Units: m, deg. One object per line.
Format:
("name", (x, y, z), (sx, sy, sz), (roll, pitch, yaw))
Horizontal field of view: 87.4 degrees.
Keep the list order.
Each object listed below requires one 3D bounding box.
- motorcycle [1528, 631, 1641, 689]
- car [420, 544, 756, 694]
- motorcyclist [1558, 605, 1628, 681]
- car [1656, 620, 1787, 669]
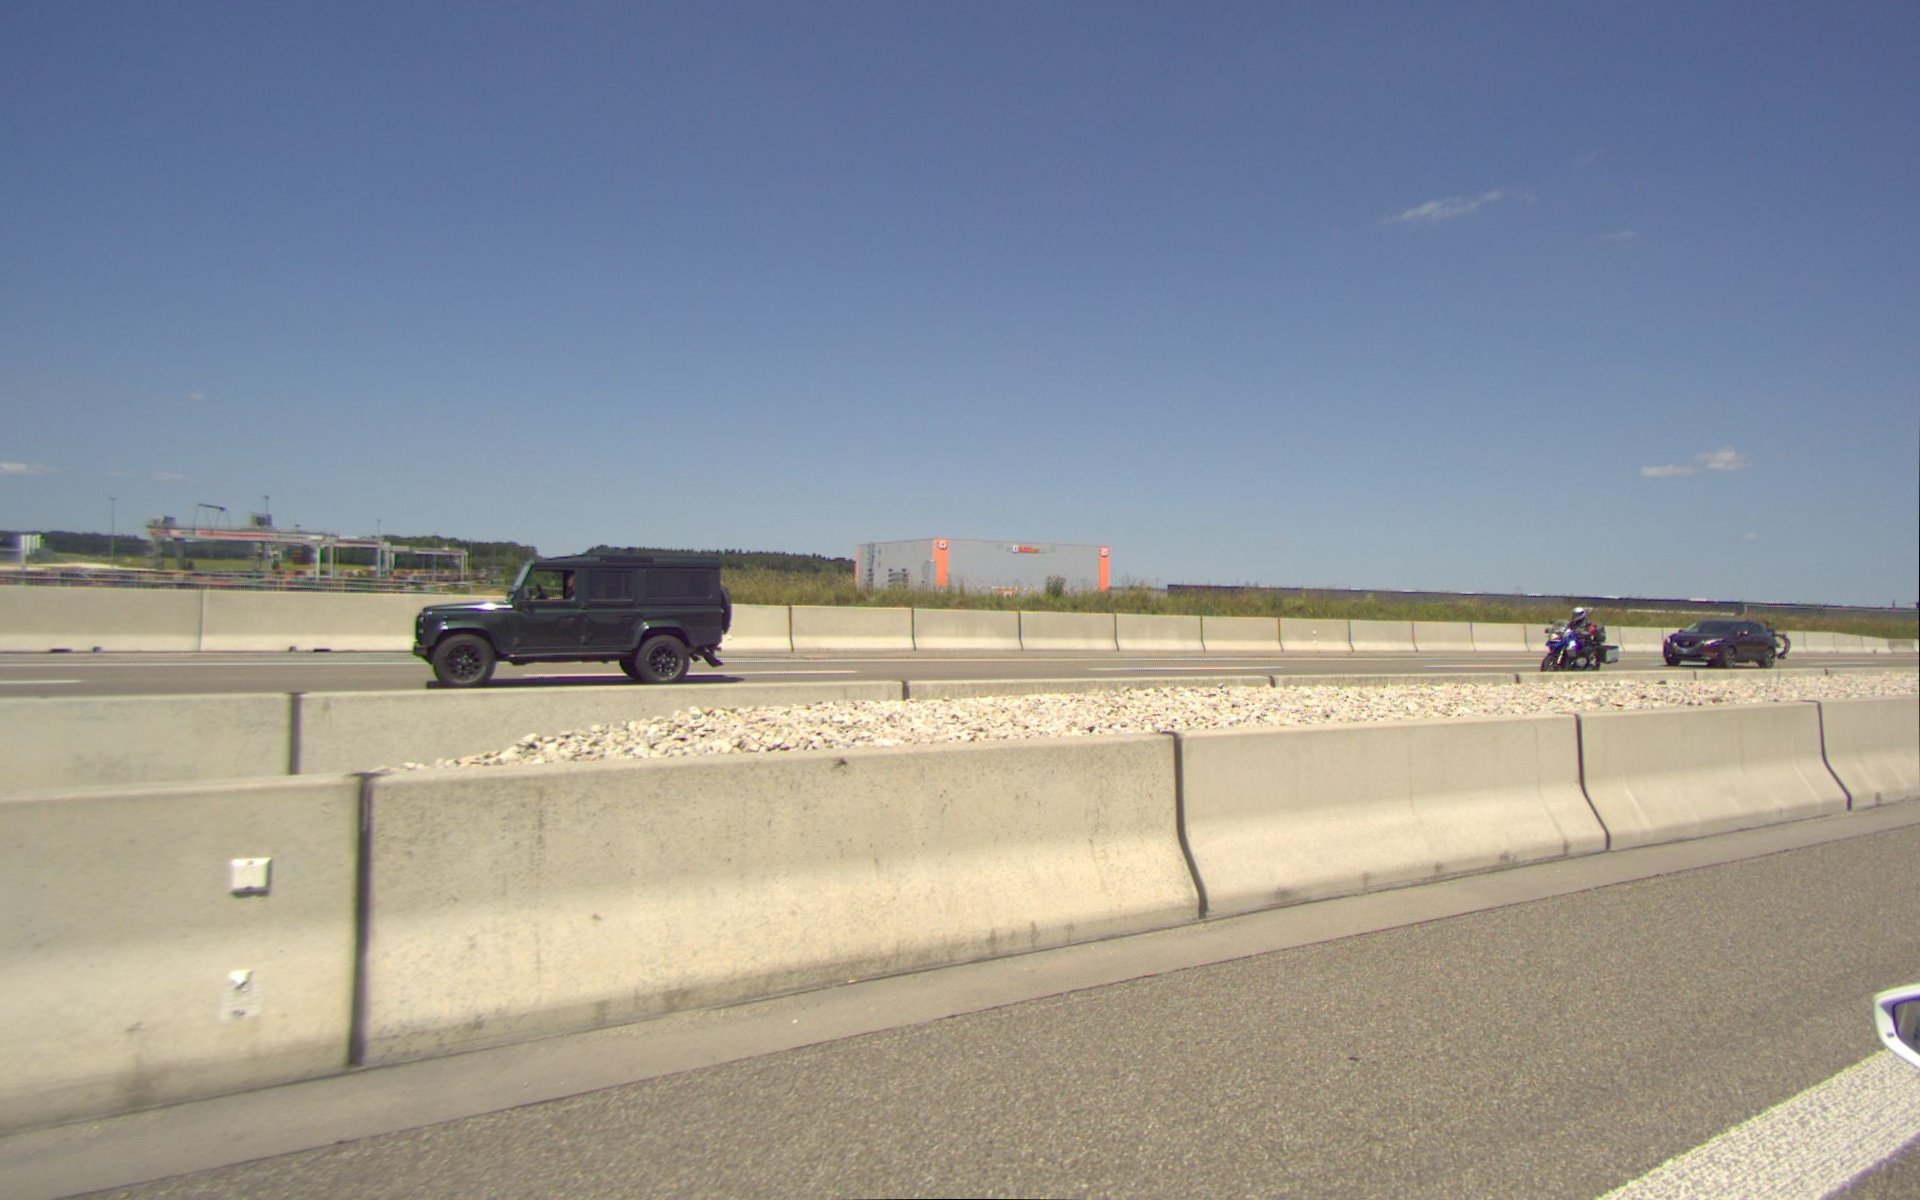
("motorcycle", (13.902, 1.313, 22.337), (2.690, 1.184, 0.954), (1, 0, -29))
("car", (-5.751, 0.300, 15.688), (4.676, 2.044, 1.877), (1, 0, -29))
("motorcyclist", (14.149, 0.944, 22.460), (1.075, 1.643, 0.916), (1, 0, -29))
("car", (25.701, 1.444, 33.852), (5.082, 1.511, 1.858), (1, 0, -32))
